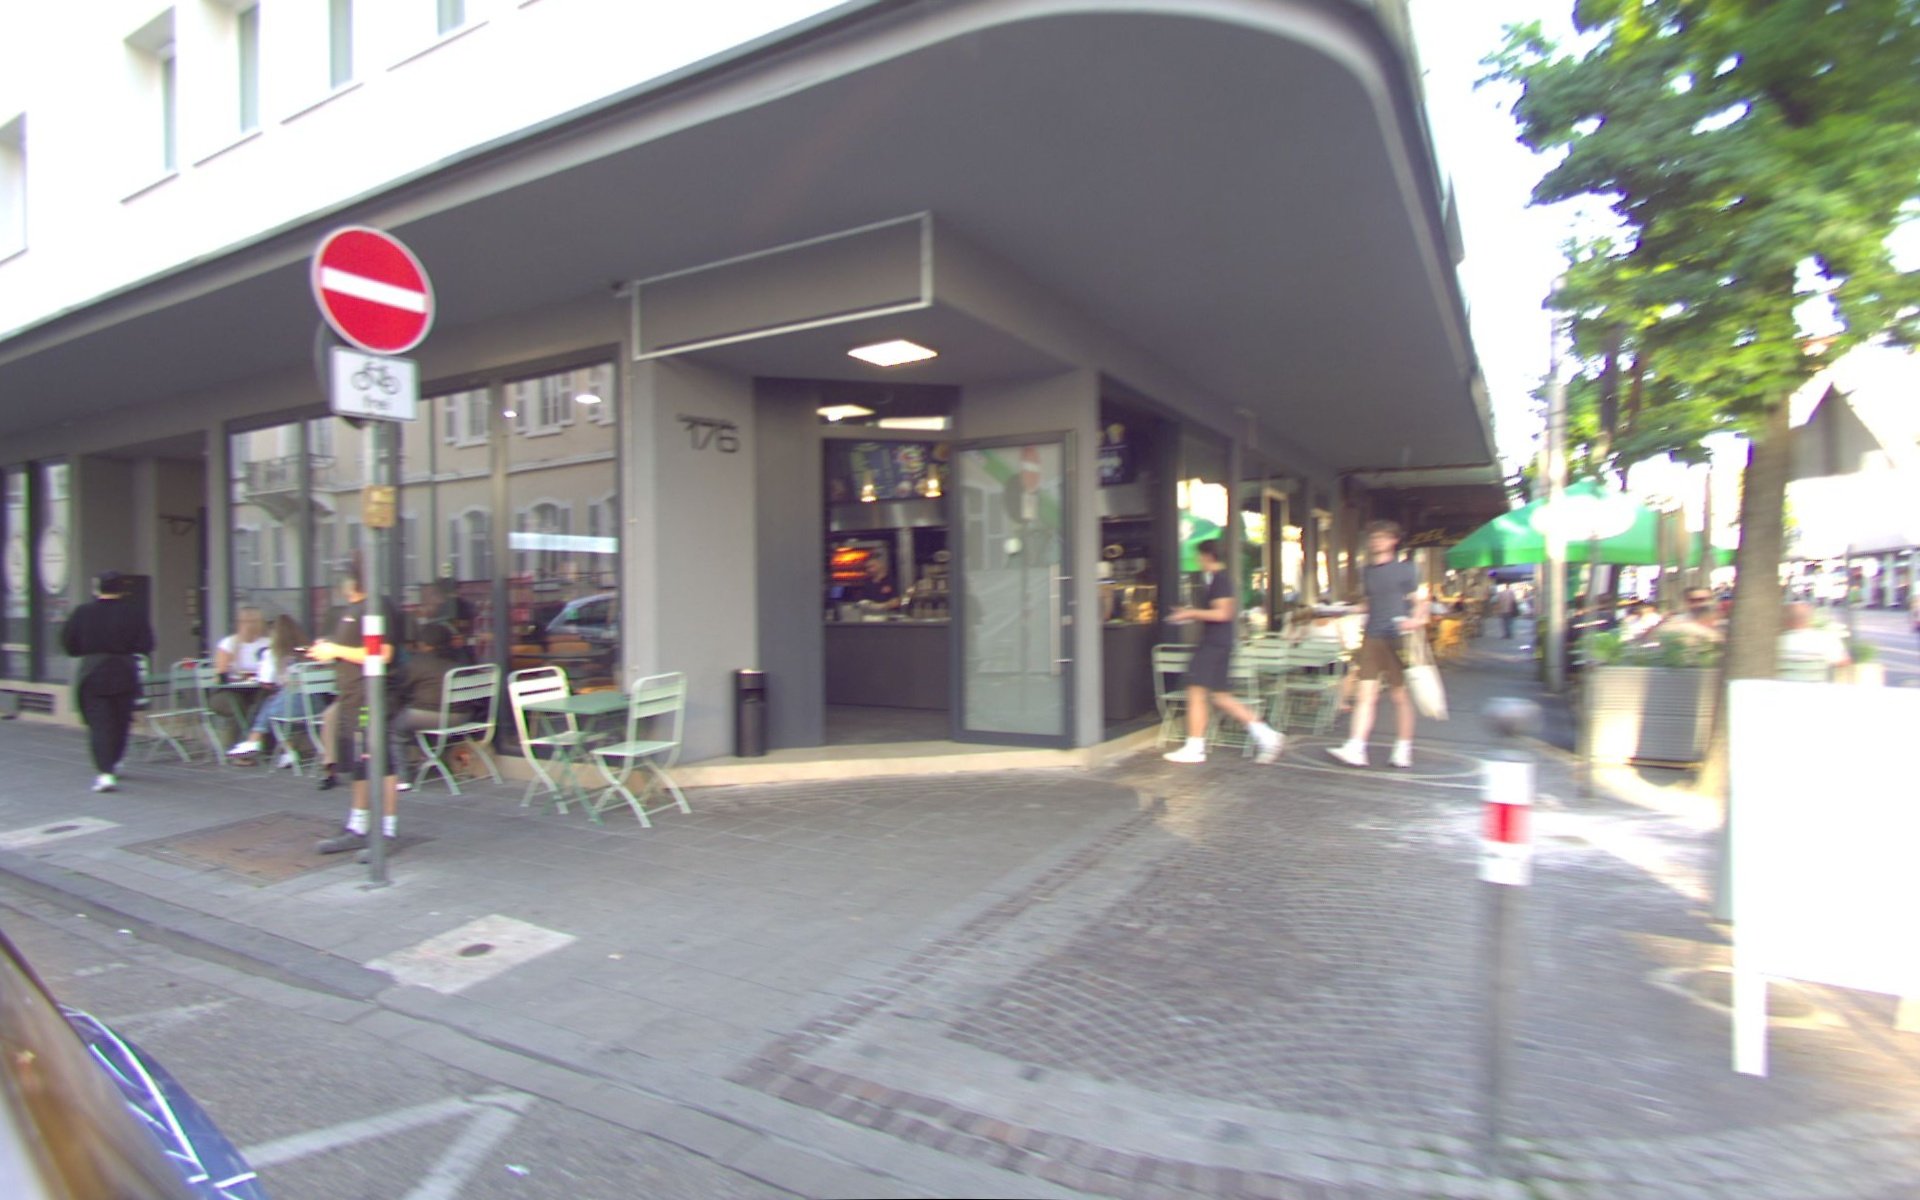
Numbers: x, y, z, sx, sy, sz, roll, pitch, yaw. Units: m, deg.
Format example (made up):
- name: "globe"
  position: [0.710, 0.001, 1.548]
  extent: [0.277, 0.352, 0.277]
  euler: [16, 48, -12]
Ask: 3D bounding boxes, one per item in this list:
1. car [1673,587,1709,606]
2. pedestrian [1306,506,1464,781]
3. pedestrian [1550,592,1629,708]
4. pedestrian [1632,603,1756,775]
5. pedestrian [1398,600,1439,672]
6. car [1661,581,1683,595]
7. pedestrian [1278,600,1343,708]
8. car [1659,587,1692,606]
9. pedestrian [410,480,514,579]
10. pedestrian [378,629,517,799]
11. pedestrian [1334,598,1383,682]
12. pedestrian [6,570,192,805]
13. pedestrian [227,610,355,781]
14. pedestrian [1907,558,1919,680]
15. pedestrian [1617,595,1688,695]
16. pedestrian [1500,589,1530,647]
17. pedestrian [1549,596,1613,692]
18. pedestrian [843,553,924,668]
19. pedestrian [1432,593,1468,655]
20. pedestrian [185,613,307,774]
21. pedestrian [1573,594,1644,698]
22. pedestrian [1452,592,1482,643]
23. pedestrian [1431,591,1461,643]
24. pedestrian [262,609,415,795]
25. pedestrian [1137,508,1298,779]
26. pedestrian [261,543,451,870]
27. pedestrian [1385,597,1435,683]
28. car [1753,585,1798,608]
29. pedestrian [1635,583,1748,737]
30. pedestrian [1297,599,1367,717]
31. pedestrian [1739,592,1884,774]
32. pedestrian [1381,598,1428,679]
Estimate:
- name: "car"
  position: [65.140, -0.291, 90.232]
  extent: [1.920, 1.653, 3.689]
  euler: [-1, -1, 26]
- name: "pedestrian"
  position: [3.237, 0.313, 7.741]
  extent: [1.024, 1.916, 1.060]
  euler: [-1, -1, 24]
- name: "pedestrian"
  position: [7.764, 0.600, 12.511]
  extent: [0.727, 1.368, 0.707]
  euler: [-1, 1, 27]
- name: "pedestrian"
  position: [6.149, 0.717, 8.521]
  extent: [0.710, 1.338, 0.725]
  euler: [-1, 1, 27]
- name: "pedestrian"
  position: [8.476, 0.658, 18.688]
  extent: [0.650, 1.269, 0.668]
  euler: [-1, 1, 27]
- name: "car"
  position: [79.795, -1.362, 113.387]
  extent: [1.667, 1.553, 3.466]
  euler: [-1, 0, 30]
- name: "pedestrian"
  position: [4.326, 0.651, 12.483]
  extent: [0.650, 1.269, 0.668]
  euler: [-1, 1, 27]
- name: "car"
  position: [58.922, -0.271, 83.370]
  extent: [1.665, 1.553, 3.470]
  euler: [-1, 0, 27]
- name: "pedestrian"
  position: [-11.959, -1.602, 24.541]
  extent: [1.965, 2.029, 4.013]
  euler: [0, -1, -22]
- name: "pedestrian"
  position: [-3.675, 0.784, 7.269]
  extent: [0.711, 1.122, 0.569]
  euler: [-1, 1, 31]
- name: "pedestrian"
  position: [6.302, 0.620, 15.989]
  extent: [0.650, 1.269, 0.668]
  euler: [-1, 1, 27]
- name: "pedestrian"
  position: [-6.627, 0.624, 7.805]
  extent: [0.898, 1.680, 0.791]
  euler: [-1, 1, 29]
- name: "pedestrian"
  position: [-5.408, 0.740, 8.188]
  extent: [0.711, 1.285, 0.569]
  euler: [-1, 1, 31]
- name: "pedestrian"
  position: [15.725, 0.300, 16.171]
  extent: [0.712, 1.916, 1.056]
  euler: [-1, -1, 37]
- name: "pedestrian"
  position: [9.917, 0.627, 14.522]
  extent: [0.727, 1.368, 0.707]
  euler: [-1, 1, 27]
- name: "pedestrian"
  position: [15.836, 0.509, 28.885]
  extent: [0.706, 1.619, 0.872]
  euler: [-1, 0, 27]
- name: "pedestrian"
  position: [9.203, 0.639, 15.028]
  extent: [0.727, 1.368, 0.707]
  euler: [-1, 1, 27]
- name: "pedestrian"
  position: [-0.874, 0.107, 11.609]
  extent: [0.650, 1.269, 0.668]
  euler: [-1, 1, 27]
- name: "pedestrian"
  position: [10.353, 0.505, 21.394]
  extent: [0.650, 1.269, 0.668]
  euler: [-1, 1, 27]
- name: "pedestrian"
  position: [-6.086, 0.768, 8.633]
  extent: [0.711, 1.285, 0.569]
  euler: [-1, 1, 31]
- name: "pedestrian"
  position: [8.924, 0.621, 13.956]
  extent: [0.727, 1.368, 0.707]
  euler: [-1, 1, 27]
- name: "pedestrian"
  position: [13.130, 0.453, 26.213]
  extent: [0.650, 1.269, 0.668]
  euler: [-1, 1, 27]
- name: "pedestrian"
  position: [12.346, 0.431, 25.692]
  extent: [0.650, 1.269, 0.668]
  euler: [-1, 1, 27]
- name: "pedestrian"
  position: [-4.669, 0.730, 7.616]
  extent: [0.711, 1.285, 0.697]
  euler: [-1, 1, 31]
- name: "pedestrian"
  position: [2.015, 0.318, 7.839]
  extent: [1.062, 1.916, 1.022]
  euler: [-1, -1, 23]
- name: "pedestrian"
  position: [-3.249, 0.550, 5.476]
  extent: [0.679, 1.680, 0.505]
  euler: [-1, 1, 6]
- name: "pedestrian"
  position: [6.943, 0.612, 15.598]
  extent: [0.650, 1.269, 0.668]
  euler: [-1, 1, 27]
- name: "car"
  position: [56.695, -0.240, 70.412]
  extent: [1.665, 1.553, 3.470]
  euler: [-1, 0, 27]
- name: "pedestrian"
  position: [6.847, 0.539, 9.509]
  extent: [0.727, 1.368, 0.707]
  euler: [-1, 1, 27]
- name: "pedestrian"
  position: [4.223, 0.638, 11.472]
  extent: [0.650, 1.269, 0.668]
  euler: [-1, 1, 27]
- name: "pedestrian"
  position: [6.851, 0.637, 8.180]
  extent: [0.727, 1.368, 0.707]
  euler: [-1, 1, 27]
- name: "pedestrian"
  position: [7.290, 0.626, 16.594]
  extent: [0.650, 1.269, 0.668]
  euler: [-1, 1, 27]
